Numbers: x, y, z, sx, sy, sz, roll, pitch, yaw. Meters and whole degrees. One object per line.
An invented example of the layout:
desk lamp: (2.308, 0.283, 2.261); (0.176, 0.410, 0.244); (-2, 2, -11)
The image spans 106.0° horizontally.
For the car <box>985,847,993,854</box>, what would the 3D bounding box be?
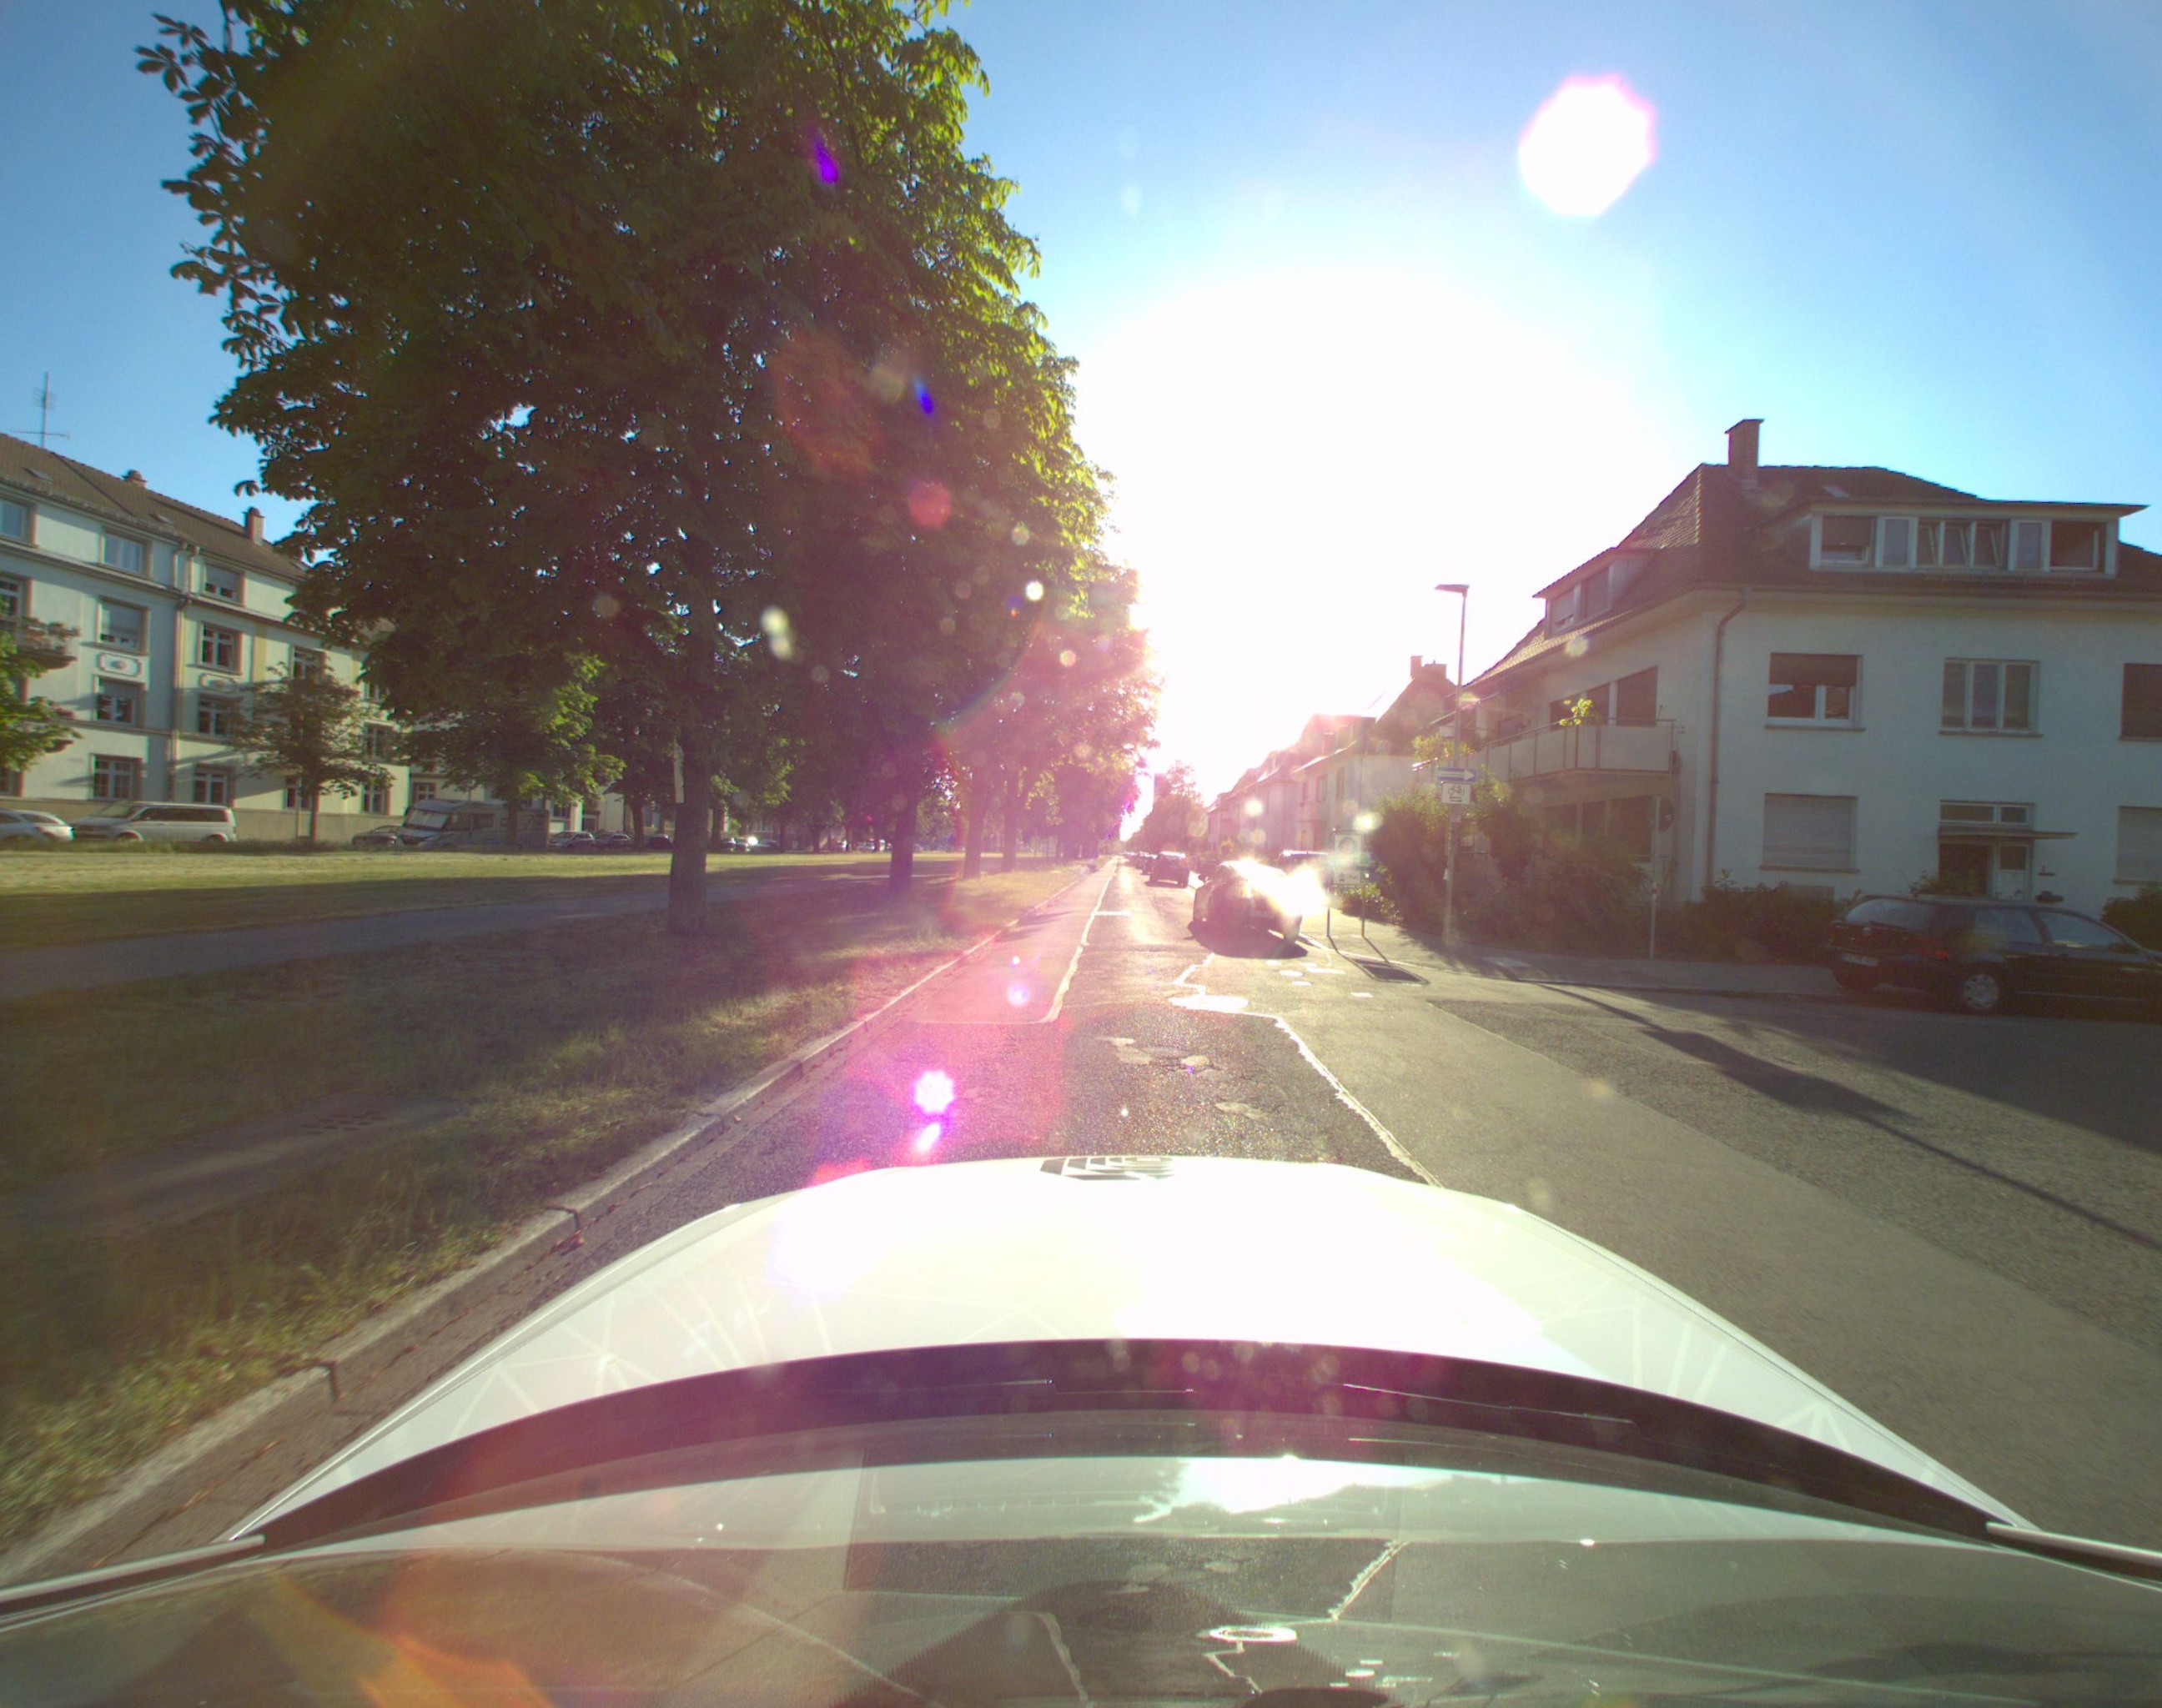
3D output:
car: (-24.044, -0.960, 212.156); (1.607, 1.538, 3.355); (5, -2, 1)

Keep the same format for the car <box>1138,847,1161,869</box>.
car: (6.781, 0.437, 81.057); (1.986, 2.013, 4.001); (5, -1, 2)

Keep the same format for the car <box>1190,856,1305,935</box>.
car: (3.438, 0.822, 17.552); (1.703, 1.359, 4.205); (5, -1, 3)

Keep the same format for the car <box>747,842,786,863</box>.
car: (-30.350, -0.119, 78.642); (1.804, 1.781, 4.125); (5, -1, 3)

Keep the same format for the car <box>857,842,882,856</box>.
car: (-28.333, -0.633, 109.312); (2.014, 1.659, 3.987); (5, -1, 3)

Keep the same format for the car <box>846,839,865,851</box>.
car: (-33.968, -1.306, 122.897); (1.634, 1.643, 3.855); (5, -1, 1)

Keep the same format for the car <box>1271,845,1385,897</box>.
car: (9.759, 0.709, 32.321); (3.976, 1.823, 1.758); (2, -6, -2)

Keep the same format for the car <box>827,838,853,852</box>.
car: (-33.907, -1.244, 114.773); (1.985, 1.659, 4.360); (5, -1, 4)

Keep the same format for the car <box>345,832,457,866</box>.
car: (-37.344, -0.223, 44.939); (1.985, 1.659, 4.575); (5, -1, 4)

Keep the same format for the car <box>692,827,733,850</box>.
car: (-35.874, -1.486, 79.393); (1.987, 2.013, 4.000); (5, -1, 1)

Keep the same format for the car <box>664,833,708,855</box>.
car: (-36.160, -0.906, 74.688); (1.857, 1.803, 3.918); (5, -1, 2)

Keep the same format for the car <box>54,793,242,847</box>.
car: (-38.375, -1.340, 33.733); (1.986, 1.950, 4.879); (2, 0, 1)

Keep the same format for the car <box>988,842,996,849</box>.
car: (-28.034, -2.733, 255.966); (1.986, 2.013, 4.002); (2, 0, 2)

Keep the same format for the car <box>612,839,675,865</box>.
car: (-31.352, -0.100, 58.460); (1.872, 1.674, 4.318); (5, -1, 3)

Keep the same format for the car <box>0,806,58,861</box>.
car: (-32.936, -0.635, 23.207); (1.789, 1.554, 4.420); (5, 1, 1)

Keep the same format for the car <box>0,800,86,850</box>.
car: (-38.571, -1.060, 28.466); (1.835, 1.641, 4.478); (5, 0, 3)

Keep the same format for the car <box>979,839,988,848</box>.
car: (-23.432, -2.480, 195.647); (1.648, 1.938, 3.568); (5, -2, 2)

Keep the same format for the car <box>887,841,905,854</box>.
car: (-29.210, -1.002, 128.687); (1.722, 1.689, 3.879); (5, -2, 1)

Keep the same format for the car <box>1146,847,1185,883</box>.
car: (4.958, 0.653, 48.180); (1.876, 1.860, 4.001); (5, -1, 1)

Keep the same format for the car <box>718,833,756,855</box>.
car: (-35.909, -1.005, 85.060); (1.987, 2.013, 4.000); (5, -1, 1)

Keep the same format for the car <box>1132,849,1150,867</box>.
car: (7.398, 0.482, 100.946); (1.986, 2.013, 4.001); (5, -1, 2)

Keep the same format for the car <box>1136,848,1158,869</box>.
car: (7.033, 0.461, 86.878); (1.986, 2.013, 4.001); (5, -1, 2)

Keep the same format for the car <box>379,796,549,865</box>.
car: (-32.001, -1.133, 42.760); (2.382, 3.130, 7.859); (5, 0, 3)

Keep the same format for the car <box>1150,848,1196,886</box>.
car: (4.804, 0.650, 43.203); (1.986, 1.781, 4.002); (5, 1, 2)

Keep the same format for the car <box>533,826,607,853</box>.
car: (-37.215, -1.042, 59.501); (1.987, 1.689, 5.159); (5, -1, 1)

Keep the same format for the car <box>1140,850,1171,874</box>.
car: (5.557, 0.612, 60.866); (1.986, 1.653, 4.001); (3, -1, 2)

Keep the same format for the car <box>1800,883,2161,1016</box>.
car: (12.348, 1.226, 10.853); (3.972, 1.447, 1.717); (3, -1, 2)

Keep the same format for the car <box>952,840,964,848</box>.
car: (-30.493, -2.472, 202.125); (1.986, 1.913, 4.002); (5, -1, 2)

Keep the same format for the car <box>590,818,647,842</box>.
car: (-39.330, -2.003, 69.445); (1.985, 1.659, 4.379); (5, -1, 4)

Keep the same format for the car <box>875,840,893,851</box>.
car: (-33.491, -1.413, 138.539); (1.987, 1.618, 4.000); (5, -1, 1)
